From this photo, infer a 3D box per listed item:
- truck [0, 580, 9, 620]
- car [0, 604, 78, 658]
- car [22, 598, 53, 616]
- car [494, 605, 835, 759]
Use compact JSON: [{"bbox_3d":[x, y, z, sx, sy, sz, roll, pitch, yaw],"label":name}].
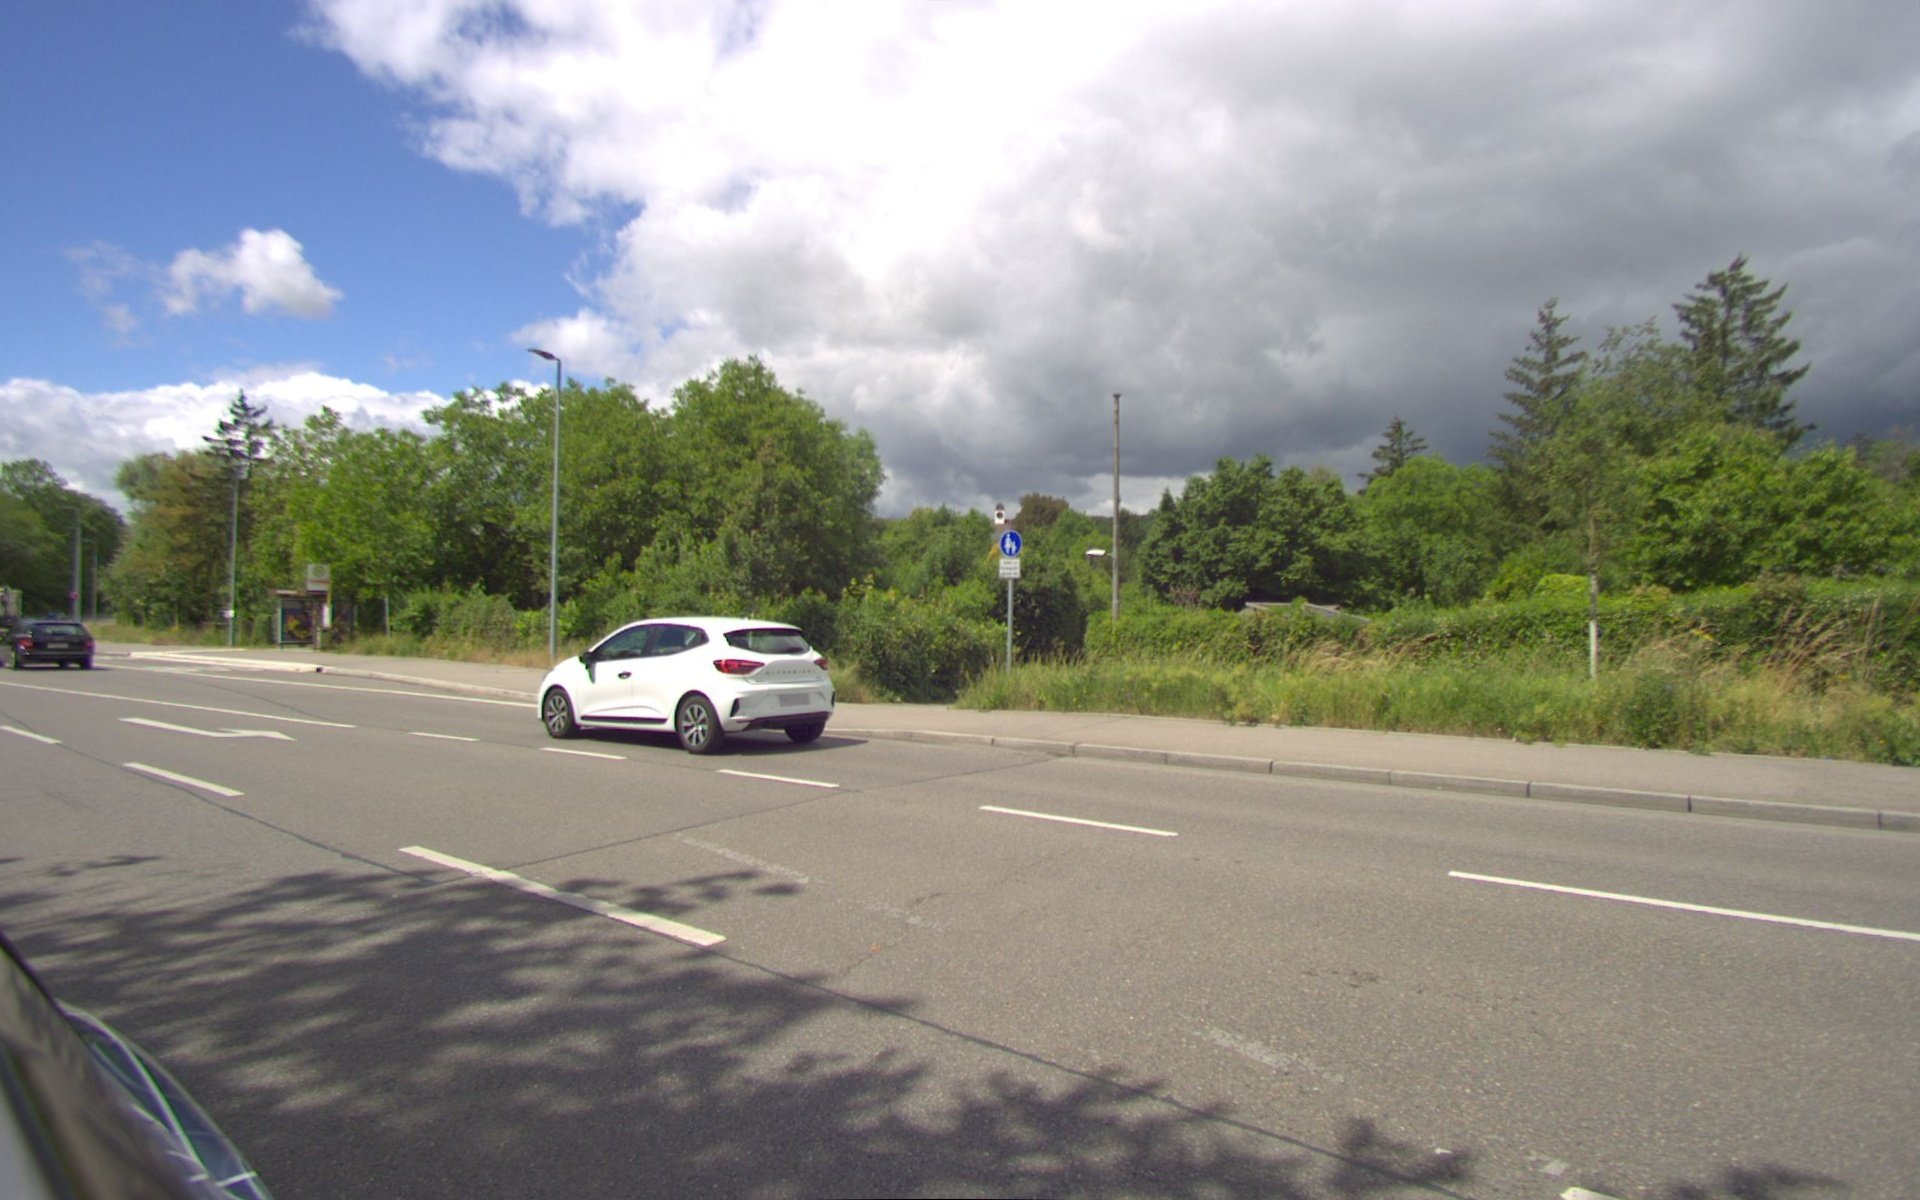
[{"bbox_3d":[-93.311,-0.111,95.603,3.189,3.889,9.901,4,-2,-33],"label":"truck"},{"bbox_3d":[-27.091,0.862,29.035,4.369,1.453,1.750,0,-2,37],"label":"car"},{"bbox_3d":[-109.280,0.845,119.914,1.966,2.029,4.011,4,-2,-34],"label":"car"},{"bbox_3d":[-3.462,0.830,11.613,3.893,1.453,1.750,0,-2,37],"label":"car"}]
